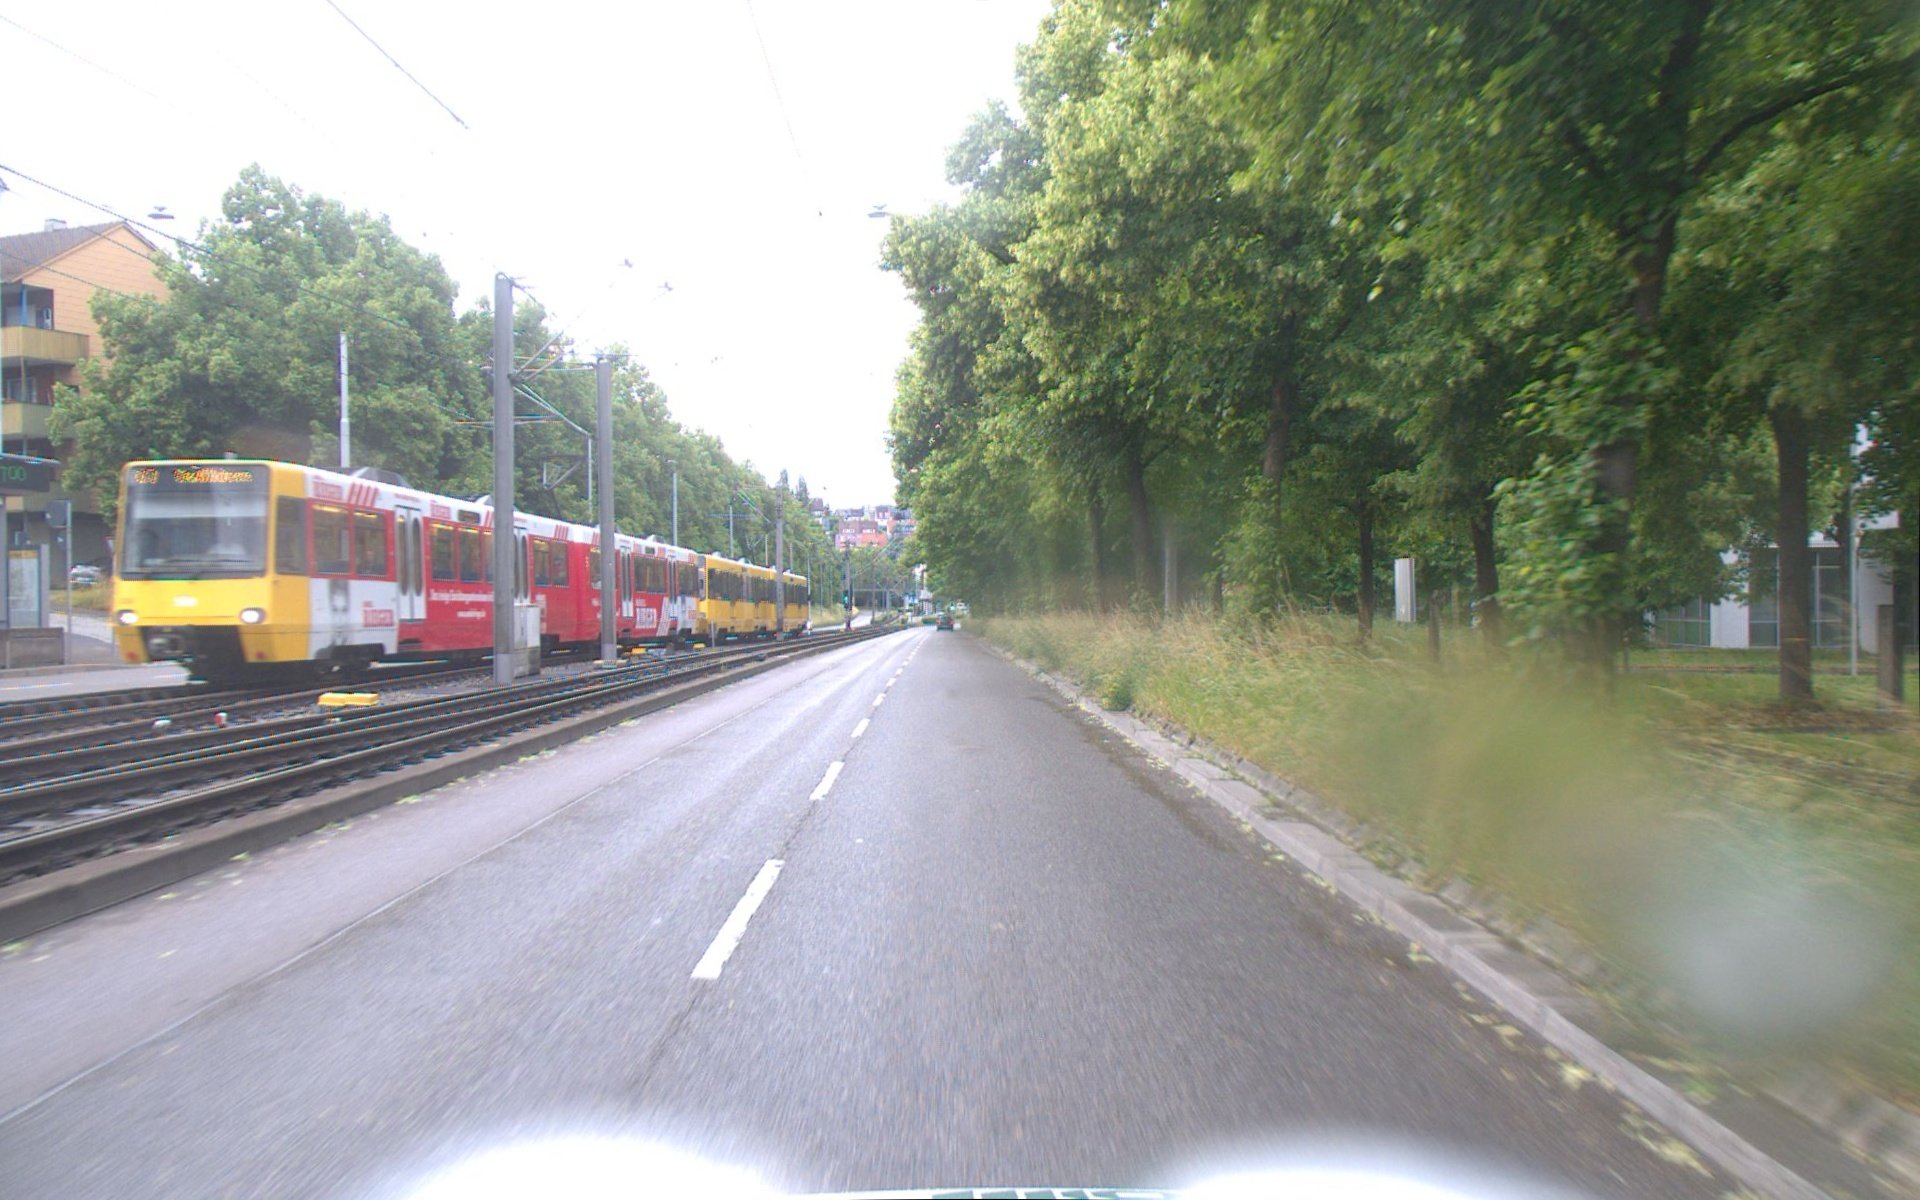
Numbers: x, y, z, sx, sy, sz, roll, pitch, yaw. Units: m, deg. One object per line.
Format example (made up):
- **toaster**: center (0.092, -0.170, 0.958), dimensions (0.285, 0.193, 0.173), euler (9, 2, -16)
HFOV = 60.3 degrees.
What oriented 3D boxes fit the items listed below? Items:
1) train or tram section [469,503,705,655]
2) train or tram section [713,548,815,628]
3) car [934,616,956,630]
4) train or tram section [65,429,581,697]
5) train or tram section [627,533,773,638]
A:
- **train or tram section**: center (-11.043, -0.546, 51.904), dimensions (2.906, 3.877, 18.616), euler (0, 0, 1)
- **train or tram section**: center (-10.392, -0.577, 90.110), dimensions (2.906, 3.877, 19.521), euler (0, 0, 1)
- **car**: center (-1.468, 2.294, 164.643), dimensions (2.149, 1.353, 3.999), euler (0, 0, -1)
- **train or tram section**: center (-11.382, -0.541, 33.302), dimensions (2.906, 3.877, 18.616), euler (0, 0, 1)
- **train or tram section**: center (-10.718, -0.553, 70.778), dimensions (2.906, 3.877, 19.100), euler (0, 0, 1)
